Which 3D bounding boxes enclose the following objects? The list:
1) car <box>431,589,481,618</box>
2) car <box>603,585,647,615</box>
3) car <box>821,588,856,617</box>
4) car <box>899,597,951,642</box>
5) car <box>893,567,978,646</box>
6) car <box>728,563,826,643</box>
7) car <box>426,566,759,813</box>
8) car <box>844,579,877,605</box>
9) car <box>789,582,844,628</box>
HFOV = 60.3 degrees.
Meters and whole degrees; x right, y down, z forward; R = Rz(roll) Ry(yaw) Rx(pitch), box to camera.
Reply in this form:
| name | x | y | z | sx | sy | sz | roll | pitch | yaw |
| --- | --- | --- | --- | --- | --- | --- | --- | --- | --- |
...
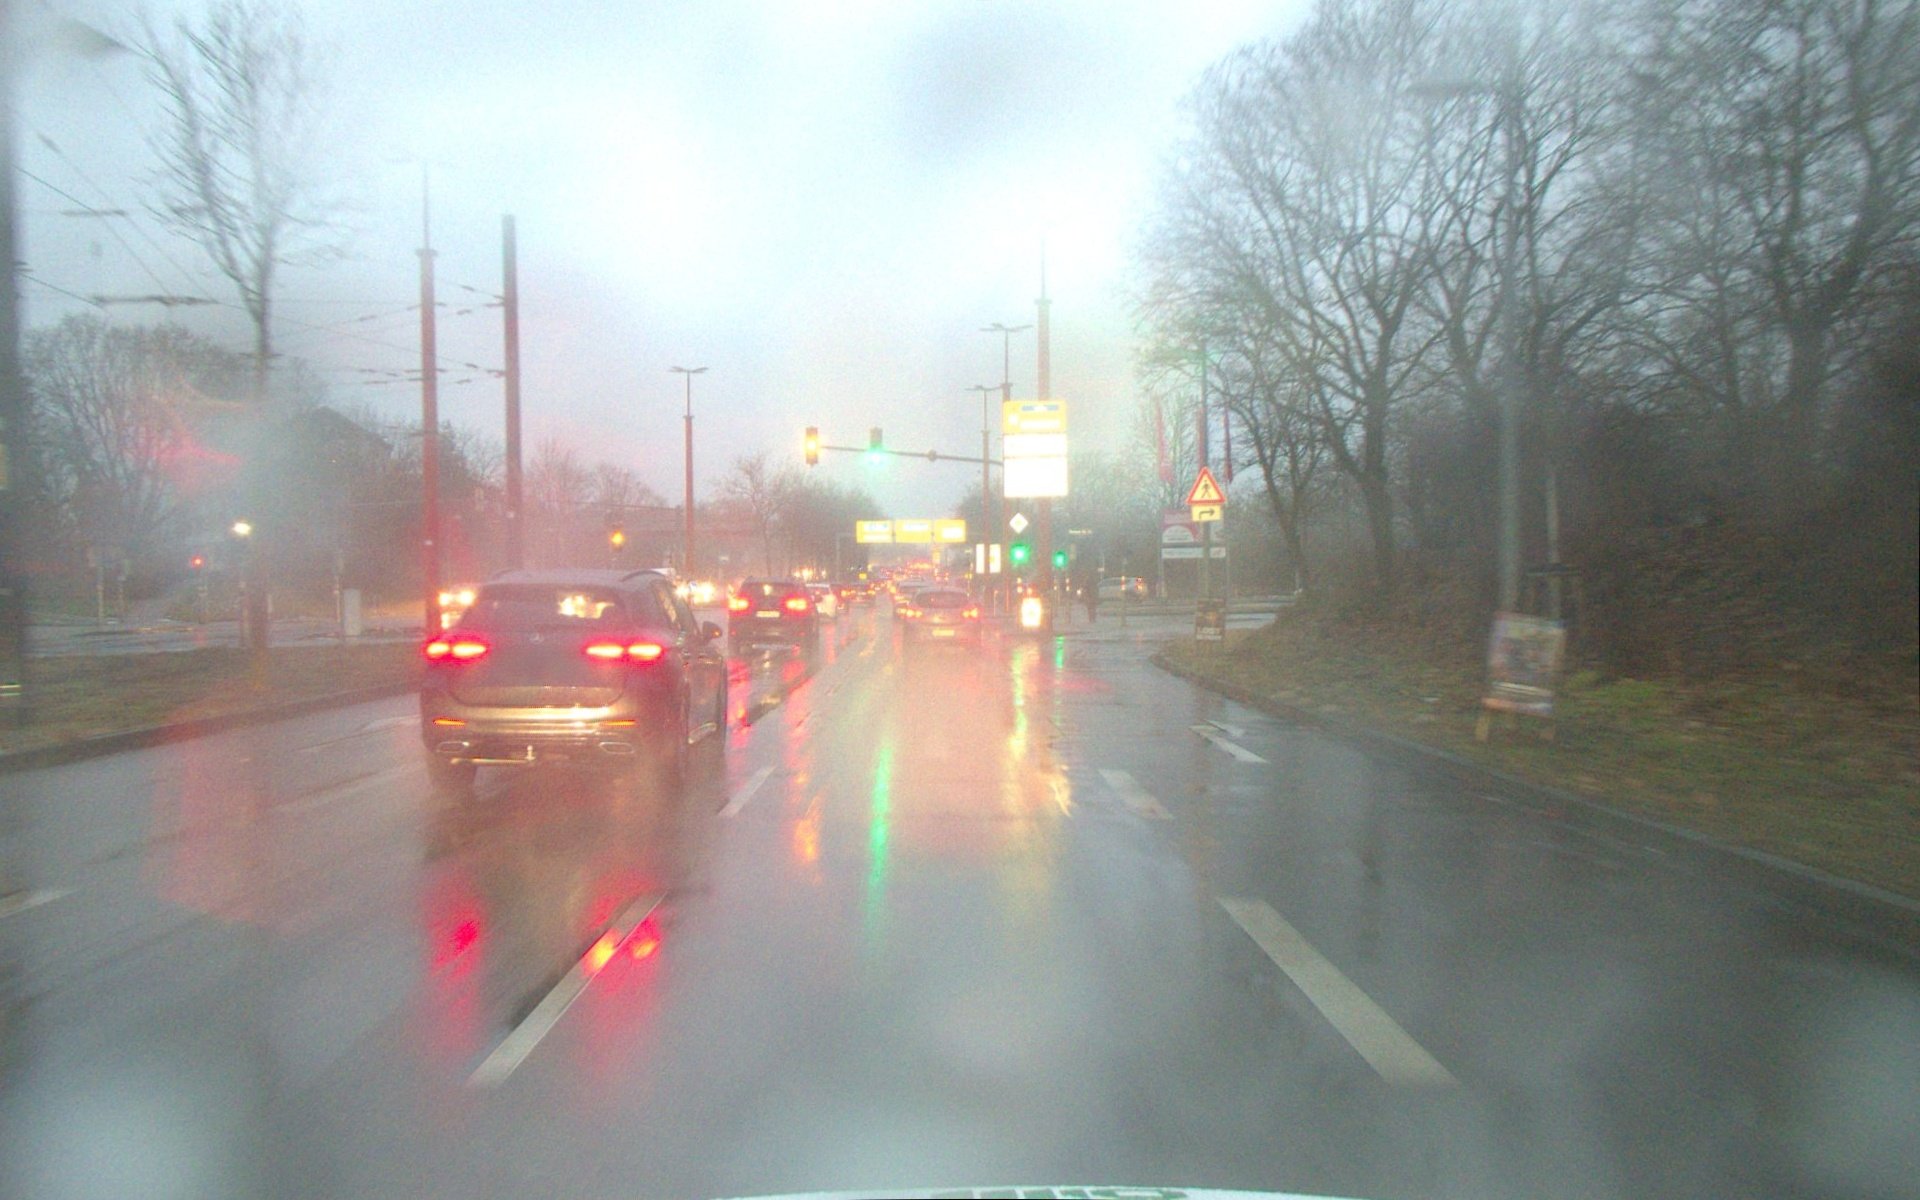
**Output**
| name | x | y | z | sx | sy | sz | roll | pitch | yaw |
| --- | --- | --- | --- | --- | --- | --- | --- | --- | --- |
| car | -27.774 | 0.173 | 91.196 | 1.586 | 1.521 | 4.016 | -1 | 1 | -1 |
| car | -18.674 | -0.013 | 92.413 | 1.820 | 1.609 | 4.077 | -1 | 1 | -3 |
| car | -5.858 | 0.101 | 80.100 | 1.475 | 1.362 | 3.999 | 0 | 0 | -1 |
| car | -1.375 | 0.739 | 65.178 | 1.953 | 1.691 | 3.999 | 1 | 0 | -1 |
| car | -0.562 | 0.130 | 37.750 | 1.785 | 1.676 | 4.465 | -1 | 0 | -1 |
| car | -4.035 | 0.059 | 37.002 | 1.785 | 1.676 | 3.999 | 0 | 0 | -1 |
| car | -2.787 | 0.596 | 13.556 | 1.785 | 1.676 | 4.465 | 0 | 0 | -1 |
| car | -6.009 | -0.510 | 100.147 | 1.785 | 1.530 | 4.000 | 0 | 0 | -1 |
| car | -5.419 | 0.173 | 62.971 | 1.785 | 1.676 | 3.999 | 0 | 0 | -1 |
